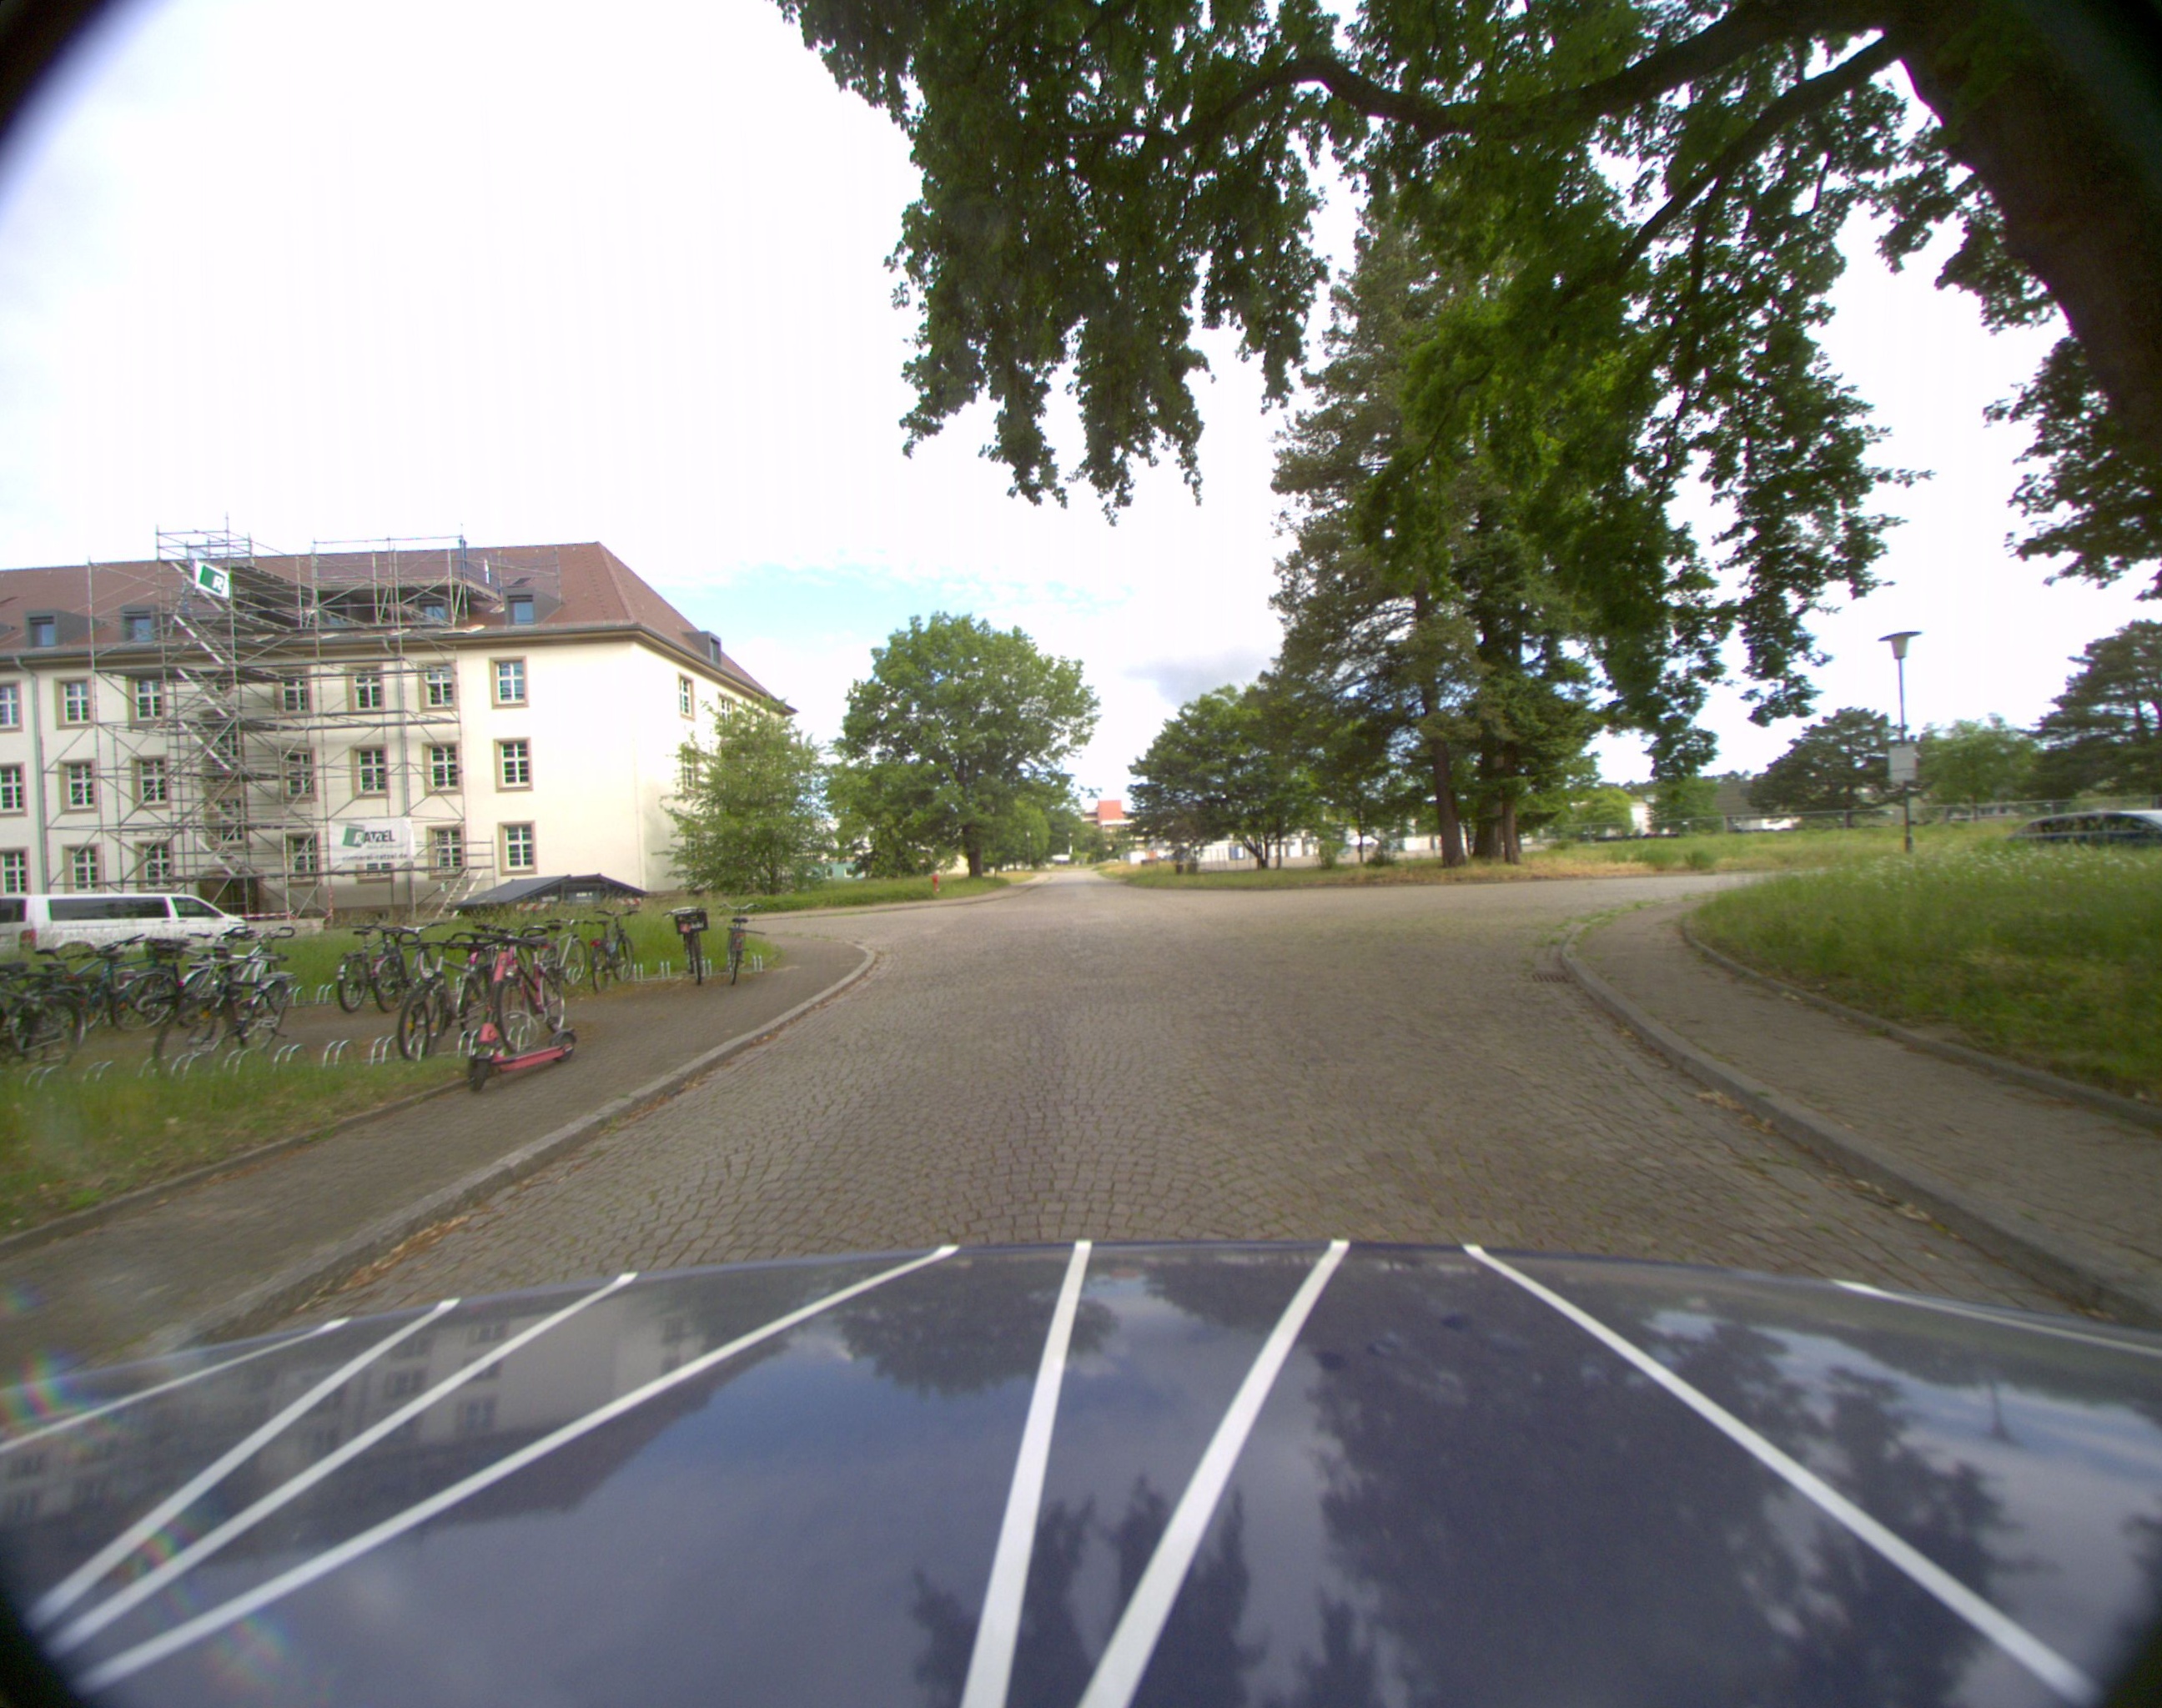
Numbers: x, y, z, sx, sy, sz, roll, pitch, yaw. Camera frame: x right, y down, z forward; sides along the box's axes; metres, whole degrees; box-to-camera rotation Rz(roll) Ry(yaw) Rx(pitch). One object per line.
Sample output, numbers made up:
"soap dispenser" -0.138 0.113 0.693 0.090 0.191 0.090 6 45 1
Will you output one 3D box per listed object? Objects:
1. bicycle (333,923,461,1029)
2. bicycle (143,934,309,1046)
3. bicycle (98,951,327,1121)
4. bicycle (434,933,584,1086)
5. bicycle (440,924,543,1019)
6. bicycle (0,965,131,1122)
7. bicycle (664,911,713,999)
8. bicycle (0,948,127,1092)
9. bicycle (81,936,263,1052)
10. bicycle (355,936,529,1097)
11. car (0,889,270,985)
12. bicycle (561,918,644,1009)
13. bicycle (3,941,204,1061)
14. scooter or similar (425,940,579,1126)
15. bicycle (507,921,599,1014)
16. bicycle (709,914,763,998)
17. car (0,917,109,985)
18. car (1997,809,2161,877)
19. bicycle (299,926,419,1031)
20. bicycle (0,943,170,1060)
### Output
"bicycle" -8.899 1.543 9.966 0.478 1.105 1.763 -3 0 -16
"bicycle" -10.670 1.646 9.571 0.478 1.105 1.763 -3 0 -16
"bicycle" -7.518 1.502 6.705 0.619 1.059 1.822 -3 0 -26
"bicycle" -5.416 1.407 7.316 0.552 1.108 1.767 -3 0 -18
"bicycle" -8.042 1.566 10.445 0.478 1.002 1.665 -4 2 -16
"bicycle" -8.810 1.558 6.213 0.552 1.059 1.751 -3 0 -26
"bicycle" -5.790 1.444 11.175 0.478 1.068 1.619 -4 2 -31
"bicycle" -9.900 1.542 6.833 0.551 1.164 1.753 -3 0 -8
"bicycle" -11.065 1.657 9.336 0.442 1.105 1.650 -3 0 -11
"bicycle" -5.867 1.423 7.108 0.552 1.108 1.802 -3 0 -18
"car" -25.475 2.078 20.251 1.967 1.985 5.276 -3 0 -1
"bicycle" -6.660 1.484 10.648 0.478 1.002 1.665 -4 2 -16
"bicycle" -11.555 1.683 9.066 0.442 1.105 1.650 -3 0 -11
"scooter or similar" -4.579 1.364 6.088 0.357 1.202 1.137 -3 0 -4
"bicycle" -7.271 1.520 10.534 0.478 1.002 1.665 -4 2 -16
"bicycle" -5.080 1.458 11.155 0.478 1.002 1.619 -4 2 -31
"car" -27.885 2.563 19.624 1.310 1.518 3.249 -3 0 -1
"car" 23.191 -0.264 16.332 1.762 1.396 4.356 -3 -1 3
"bicycle" -9.433 1.576 10.005 0.478 1.105 1.762 -3 0 -22
"bicycle" -12.153 1.731 9.209 0.478 1.105 1.763 -3 0 -16
